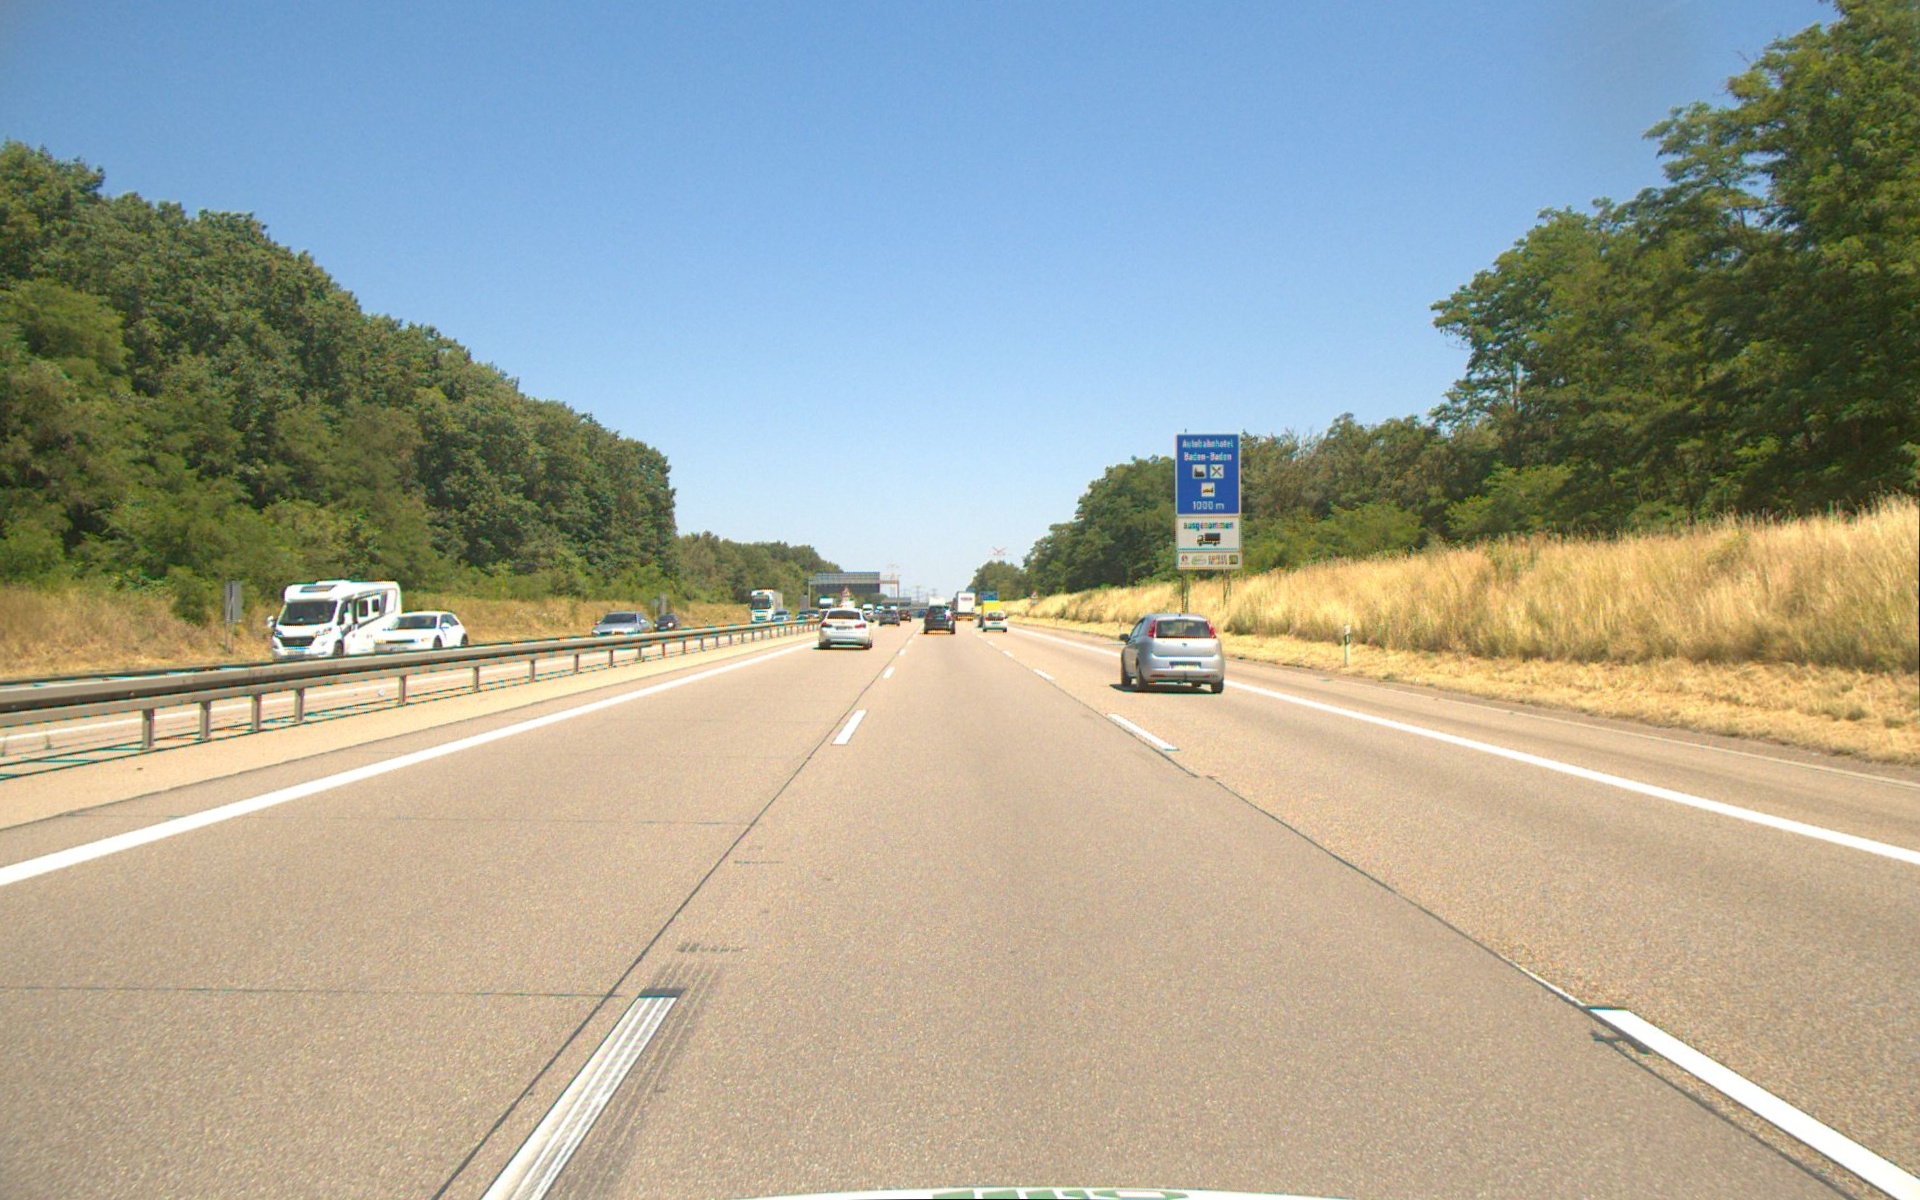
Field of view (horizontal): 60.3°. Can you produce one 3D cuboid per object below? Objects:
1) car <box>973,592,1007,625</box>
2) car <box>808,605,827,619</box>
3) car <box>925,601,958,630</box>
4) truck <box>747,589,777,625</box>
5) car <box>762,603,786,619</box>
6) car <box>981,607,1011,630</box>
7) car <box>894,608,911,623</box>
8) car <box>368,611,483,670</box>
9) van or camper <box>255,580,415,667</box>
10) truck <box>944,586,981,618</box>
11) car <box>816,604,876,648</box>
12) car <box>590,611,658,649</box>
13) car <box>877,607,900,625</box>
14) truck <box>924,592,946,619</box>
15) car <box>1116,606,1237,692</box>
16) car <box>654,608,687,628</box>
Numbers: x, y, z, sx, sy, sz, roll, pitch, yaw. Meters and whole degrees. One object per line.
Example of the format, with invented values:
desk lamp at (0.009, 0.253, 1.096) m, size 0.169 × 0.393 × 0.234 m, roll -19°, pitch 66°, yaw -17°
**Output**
car at (2.562, 0.759, 143.024) m, size 2.613 × 2.680 × 6.109 m, roll 1°, pitch -1°, yaw -3°
car at (-17.235, 1.436, 200.287) m, size 1.953 × 1.595 × 5.188 m, roll -2°, pitch 0°, yaw -1°
car at (-1.130, 0.941, 100.414) m, size 1.795 × 1.701 × 3.998 m, roll 2°, pitch 0°, yaw -3°
truck at (-23.522, 0.809, 196.490) m, size 2.846 × 4.138 × 5.651 m, roll -2°, pitch 0°, yaw -2°
car at (-19.002, 1.134, 168.788) m, size 1.953 × 1.595 × 4.527 m, roll -2°, pitch 0°, yaw -1°
car at (2.486, 1.274, 114.418) m, size 1.785 × 1.518 × 3.734 m, roll 1°, pitch -1°, yaw -3°
car at (-6.805, 1.828, 195.131) m, size 1.837 × 1.608 × 3.928 m, roll 1°, pitch 0°, yaw 0°
car at (-16.920, 1.241, 52.623) m, size 1.953 × 1.724 × 5.243 m, roll -2°, pitch 0°, yaw -1°
van or camper at (-20.772, 0.758, 55.450) m, size 2.412 × 2.620 × 7.768 m, roll -2°, pitch 0°, yaw -1°
truck at (0.359, 0.257, 240.126) m, size 3.917 × 4.390 × 9.864 m, roll 2°, pitch 0°, yaw -8°
car at (-4.128, 0.938, 60.786) m, size 1.924 × 1.530 × 5.403 m, roll 1°, pitch 0°, yaw -1°
car at (-13.209, 1.161, 65.290) m, size 1.799 × 1.397 × 4.351 m, roll -2°, pitch 0°, yaw -1°
car at (-6.212, 1.410, 144.057) m, size 1.795 × 1.456 × 4.998 m, roll 1°, pitch 0°, yaw -1°
truck at (-2.870, 0.673, 188.677) m, size 2.380 × 2.935 × 6.201 m, roll 1°, pitch -1°, yaw -3°
car at (4.183, 0.923, 32.470) m, size 1.685 × 1.517 × 3.735 m, roll 1°, pitch 0°, yaw -3°
car at (-22.011, 1.388, 125.826) m, size 1.777 × 1.420 × 4.110 m, roll -2°, pitch 0°, yaw -1°
